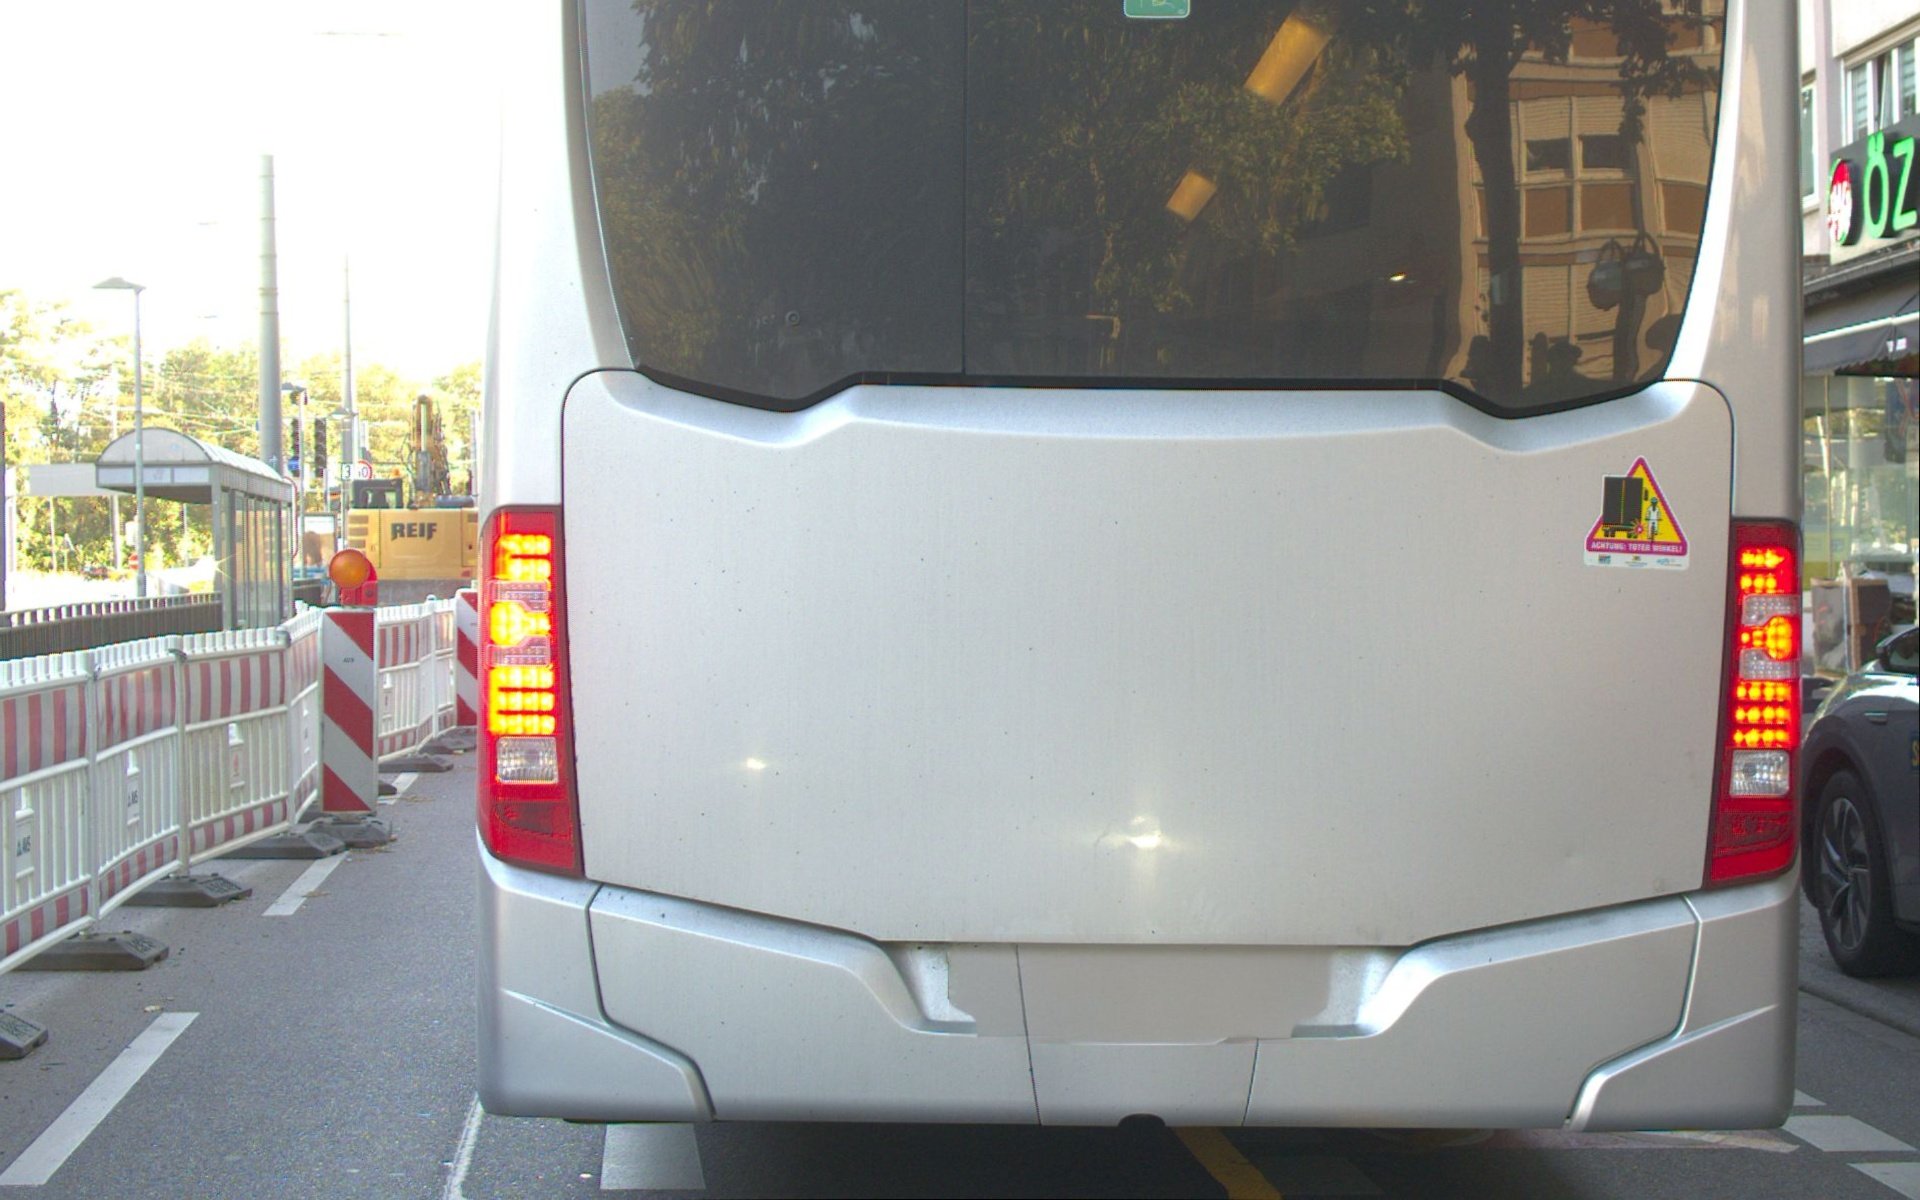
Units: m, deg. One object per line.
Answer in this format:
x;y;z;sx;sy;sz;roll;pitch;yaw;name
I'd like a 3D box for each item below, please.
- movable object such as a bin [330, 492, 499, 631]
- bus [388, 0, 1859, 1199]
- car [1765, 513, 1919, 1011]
-10.051;-0.719;63.673;2.806;2.453;4.001;-1;1;-5;movable object such as a bin
0.265;-0.285;11.250;2.608;3.159;10.292;0;1;0;bus
3.994;0.494;10.306;1.739;1.592;4.300;-3;1;-5;car
